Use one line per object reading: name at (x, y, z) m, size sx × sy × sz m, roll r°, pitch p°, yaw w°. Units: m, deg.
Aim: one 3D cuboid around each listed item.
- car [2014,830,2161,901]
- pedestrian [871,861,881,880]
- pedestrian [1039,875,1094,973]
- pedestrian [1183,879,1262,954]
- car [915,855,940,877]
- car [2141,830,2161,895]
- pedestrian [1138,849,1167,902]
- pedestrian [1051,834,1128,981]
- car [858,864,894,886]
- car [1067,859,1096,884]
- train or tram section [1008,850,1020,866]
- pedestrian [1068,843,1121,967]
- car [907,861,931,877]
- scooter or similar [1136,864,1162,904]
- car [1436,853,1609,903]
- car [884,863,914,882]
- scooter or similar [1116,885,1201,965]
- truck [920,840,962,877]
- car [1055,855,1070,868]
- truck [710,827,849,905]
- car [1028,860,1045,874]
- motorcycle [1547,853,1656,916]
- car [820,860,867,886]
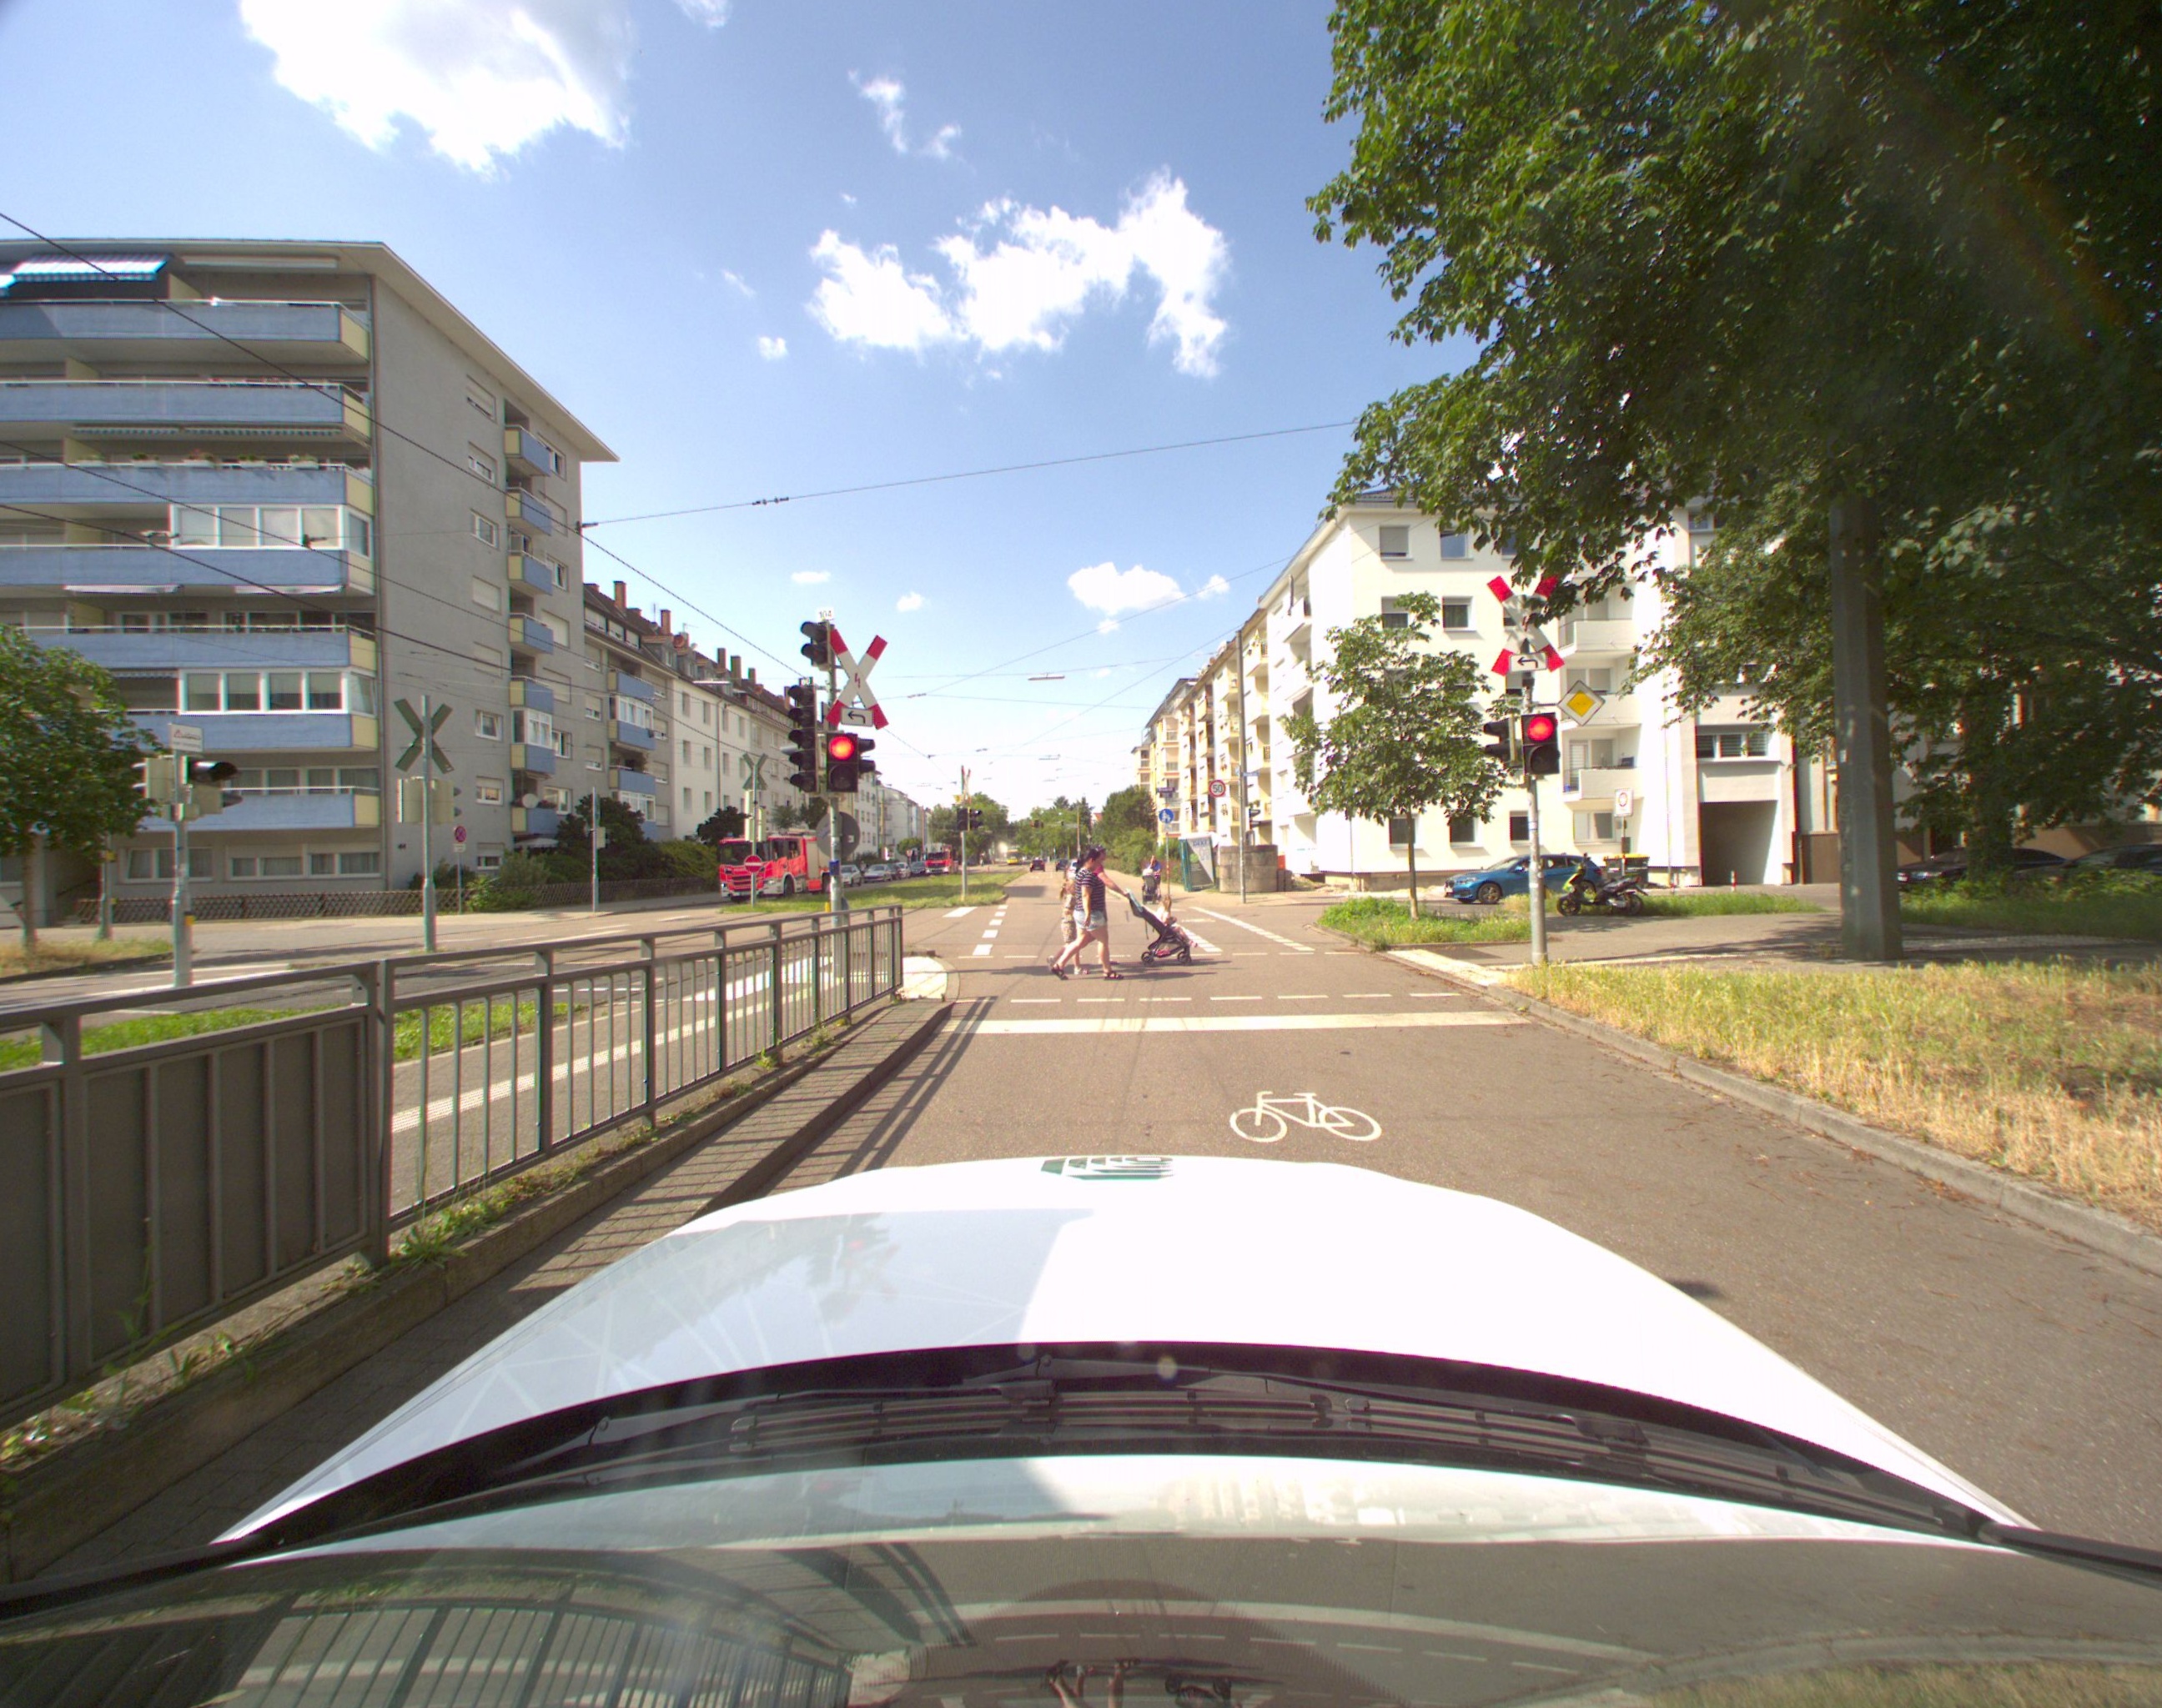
car at (23.219, 0.214, 17.508) m, size 1.733 × 1.459 × 4.001 m, roll -2°, pitch 0°, yaw 1°
pedestrian at (-18.960, 1.509, 75.204) m, size 0.703 × 1.794 × 0.864 m, roll -2°, pitch 0°, yaw -3°
pedestrian at (-0.174, 0.881, 10.481) m, size 0.634 × 1.180 × 0.799 m, roll -2°, pitch -1°, yaw 1°
pedestrian at (4.248, 1.824, 25.015) m, size 1.984 × 2.014 × 4.004 m, roll 0°, pitch -1°, yaw 4°
car at (-17.288, 1.333, 91.793) m, size 1.963 × 2.370 × 5.197 m, roll 0°, pitch -1°, yaw -2°
car at (26.026, 0.178, 17.463) m, size 1.794 × 1.539 × 4.013 m, roll -2°, pitch 0°, yaw 11°
pedestrian at (2.549, 0.754, 28.984) m, size 0.695 × 1.789 × 1.035 m, roll -4°, pitch 0°, yaw 17°
pedestrian at (0.105, 0.618, 9.785) m, size 0.842 × 1.667 × 0.799 m, roll -2°, pitch -1°, yaw 1°
car at (-16.335, 1.672, 65.016) m, size 1.989 × 1.711 × 3.996 m, roll 0°, pitch -1°, yaw -3°
car at (0.014, 1.031, 48.416) m, size 1.617 × 1.465 × 3.509 m, roll 0°, pitch -1°, yaw -1°
train or tram section at (-13.928, 0.857, 168.967) m, size 2.254 × 3.069 × 8.122 m, roll -2°, pitch 0°, yaw -4°
pedestrian at (0.179, 0.690, 11.221) m, size 0.703 × 1.648 × 0.636 m, roll 1°, pitch -1°, yaw -1°
car at (-17.056, 1.582, 85.792) m, size 1.905 × 1.711 × 3.996 m, roll 0°, pitch -1°, yaw -3°
scooter or similar at (2.355, 1.045, 28.185) m, size 0.657 × 1.304 × 0.872 m, roll -4°, pitch 0°, yaw 17°
car at (12.902, 0.698, 23.977) m, size 4.151 × 1.413 × 1.781 m, roll 0°, pitch -1°, yaw 1°
car at (-16.893, 1.666, 75.899) m, size 1.988 × 1.711 × 3.997 m, roll 0°, pitch -1°, yaw -2°
scooter or similar at (1.055, 0.958, 11.234) m, size 1.097 × 1.056 × 0.650 m, roll 0°, pitch -1°, yaw -2°
truck at (-14.154, 0.487, 83.180) m, size 2.659 × 3.471 × 10.162 m, roll 0°, pitch -1°, yaw -1°
car at (-2.155, 0.881, 95.575) m, size 1.738 × 1.507 × 3.998 m, roll 0°, pitch -1°, yaw -1°
truck at (-13.575, 0.538, 37.625) m, size 2.583 × 3.186 × 8.395 m, roll 0°, pitch -1°, yaw 6°
car at (-5.092, 1.478, 93.255) m, size 1.739 × 1.507 × 3.997 m, roll 0°, pitch -1°, yaw -1°
motorcycle at (11.036, 0.647, 17.334) m, size 0.574 × 1.215 × 1.829 m, roll -6°, pitch 1°, yaw -30°
car at (-16.009, 1.280, 55.091) m, size 1.987 × 1.711 × 3.999 m, roll 0°, pitch -1°, yaw 0°
